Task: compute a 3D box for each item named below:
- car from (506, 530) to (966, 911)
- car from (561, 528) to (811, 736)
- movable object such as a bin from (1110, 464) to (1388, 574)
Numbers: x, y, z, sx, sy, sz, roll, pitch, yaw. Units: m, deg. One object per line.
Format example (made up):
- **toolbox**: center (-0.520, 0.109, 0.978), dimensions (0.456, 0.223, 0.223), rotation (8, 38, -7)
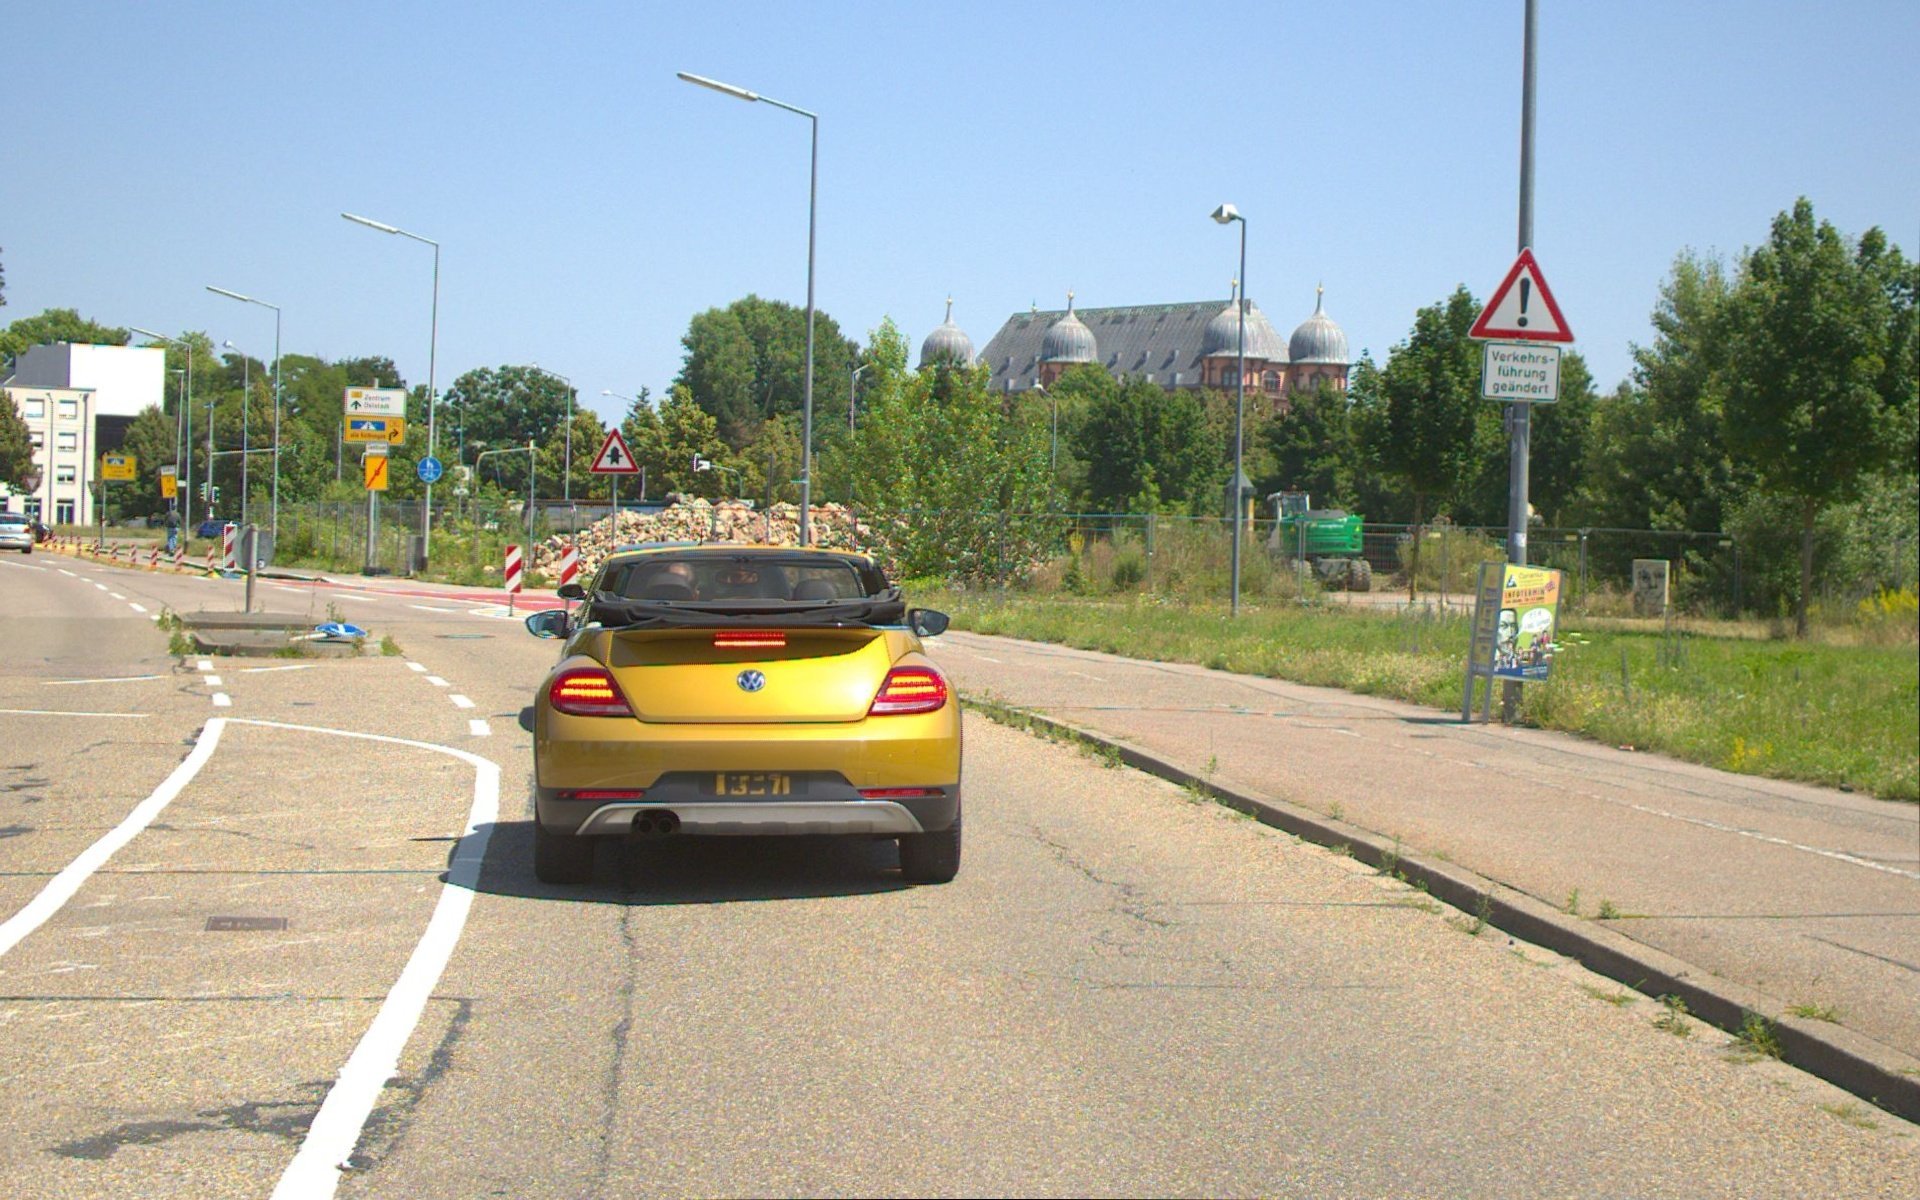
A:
- **car**: center (-0.893, 0.441, 15.524), dimensions (1.790, 1.431, 3.814), rotation (1, 2, 0)
- **car**: center (-2.192, 0.188, 26.636), dimensions (1.726, 1.438, 4.001), rotation (1, 1, -7)
- **movable object such as a bin**: center (9.153, -2.646, 111.015), dimensions (4.937, 3.249, 10.472), rotation (1, 1, -20)
